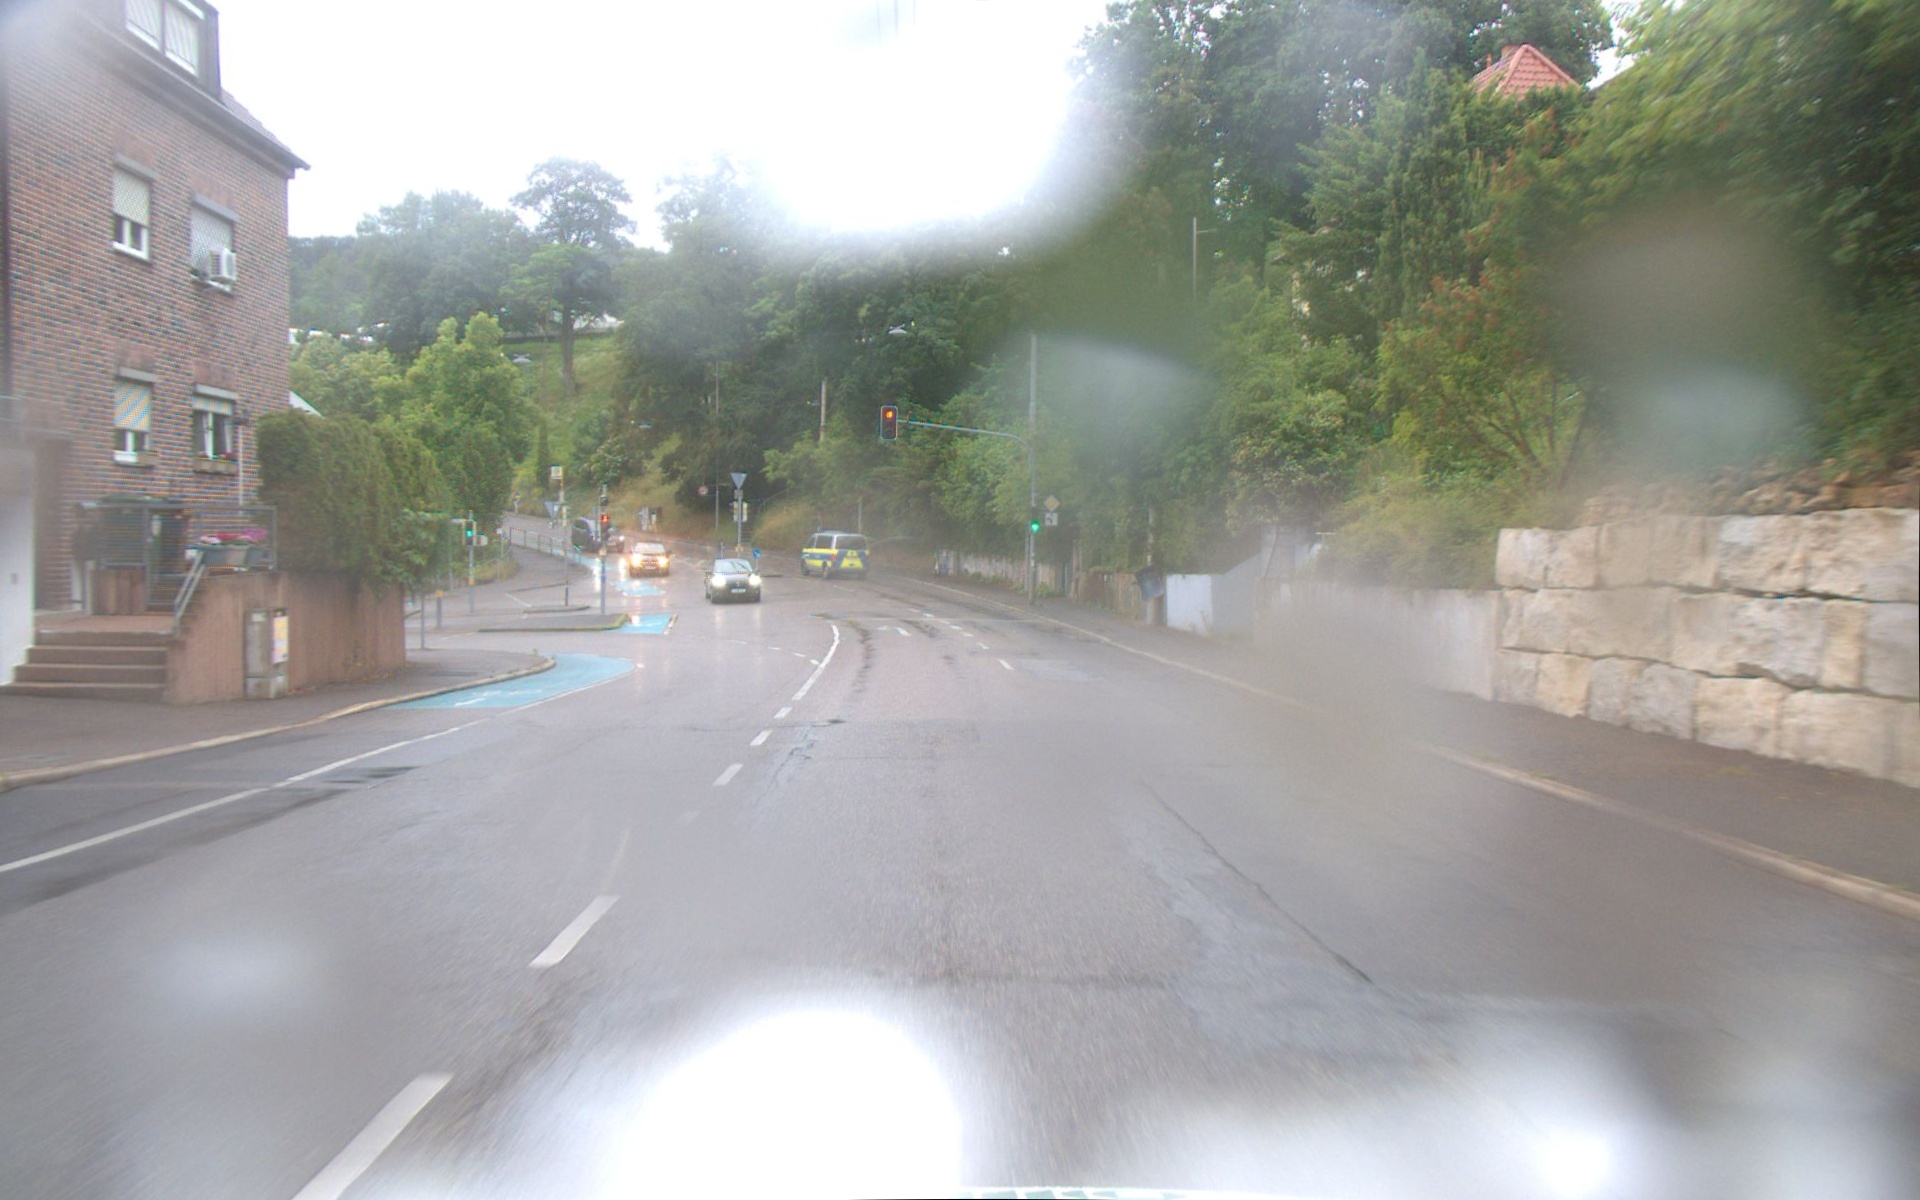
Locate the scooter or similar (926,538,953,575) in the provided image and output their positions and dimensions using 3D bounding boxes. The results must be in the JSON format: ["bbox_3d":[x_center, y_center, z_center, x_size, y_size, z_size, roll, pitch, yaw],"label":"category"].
[{"bbox_3d":[-0.887,-1.905,71.903,0.607,1.446,2.151,-2,5,-16],"label":"scooter or similar"}]

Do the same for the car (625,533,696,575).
[{"bbox_3d":[-13.576,-2.114,75.104,1.704,1.576,4.006,-1,5,12],"label":"car"}]

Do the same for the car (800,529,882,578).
[{"bbox_3d":[-5.277,-2.097,72.999,2.278,1.972,4.294,-4,4,-23],"label":"car"}]

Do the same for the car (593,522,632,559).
[{"bbox_3d":[-18.527,-3.200,88.019,1.713,1.575,3.986,-3,7,-16],"label":"car"}]

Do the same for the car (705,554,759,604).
[{"bbox_3d":[-8.226,-0.785,59.418,1.710,1.576,3.991,-3,3,-10],"label":"car"}]
